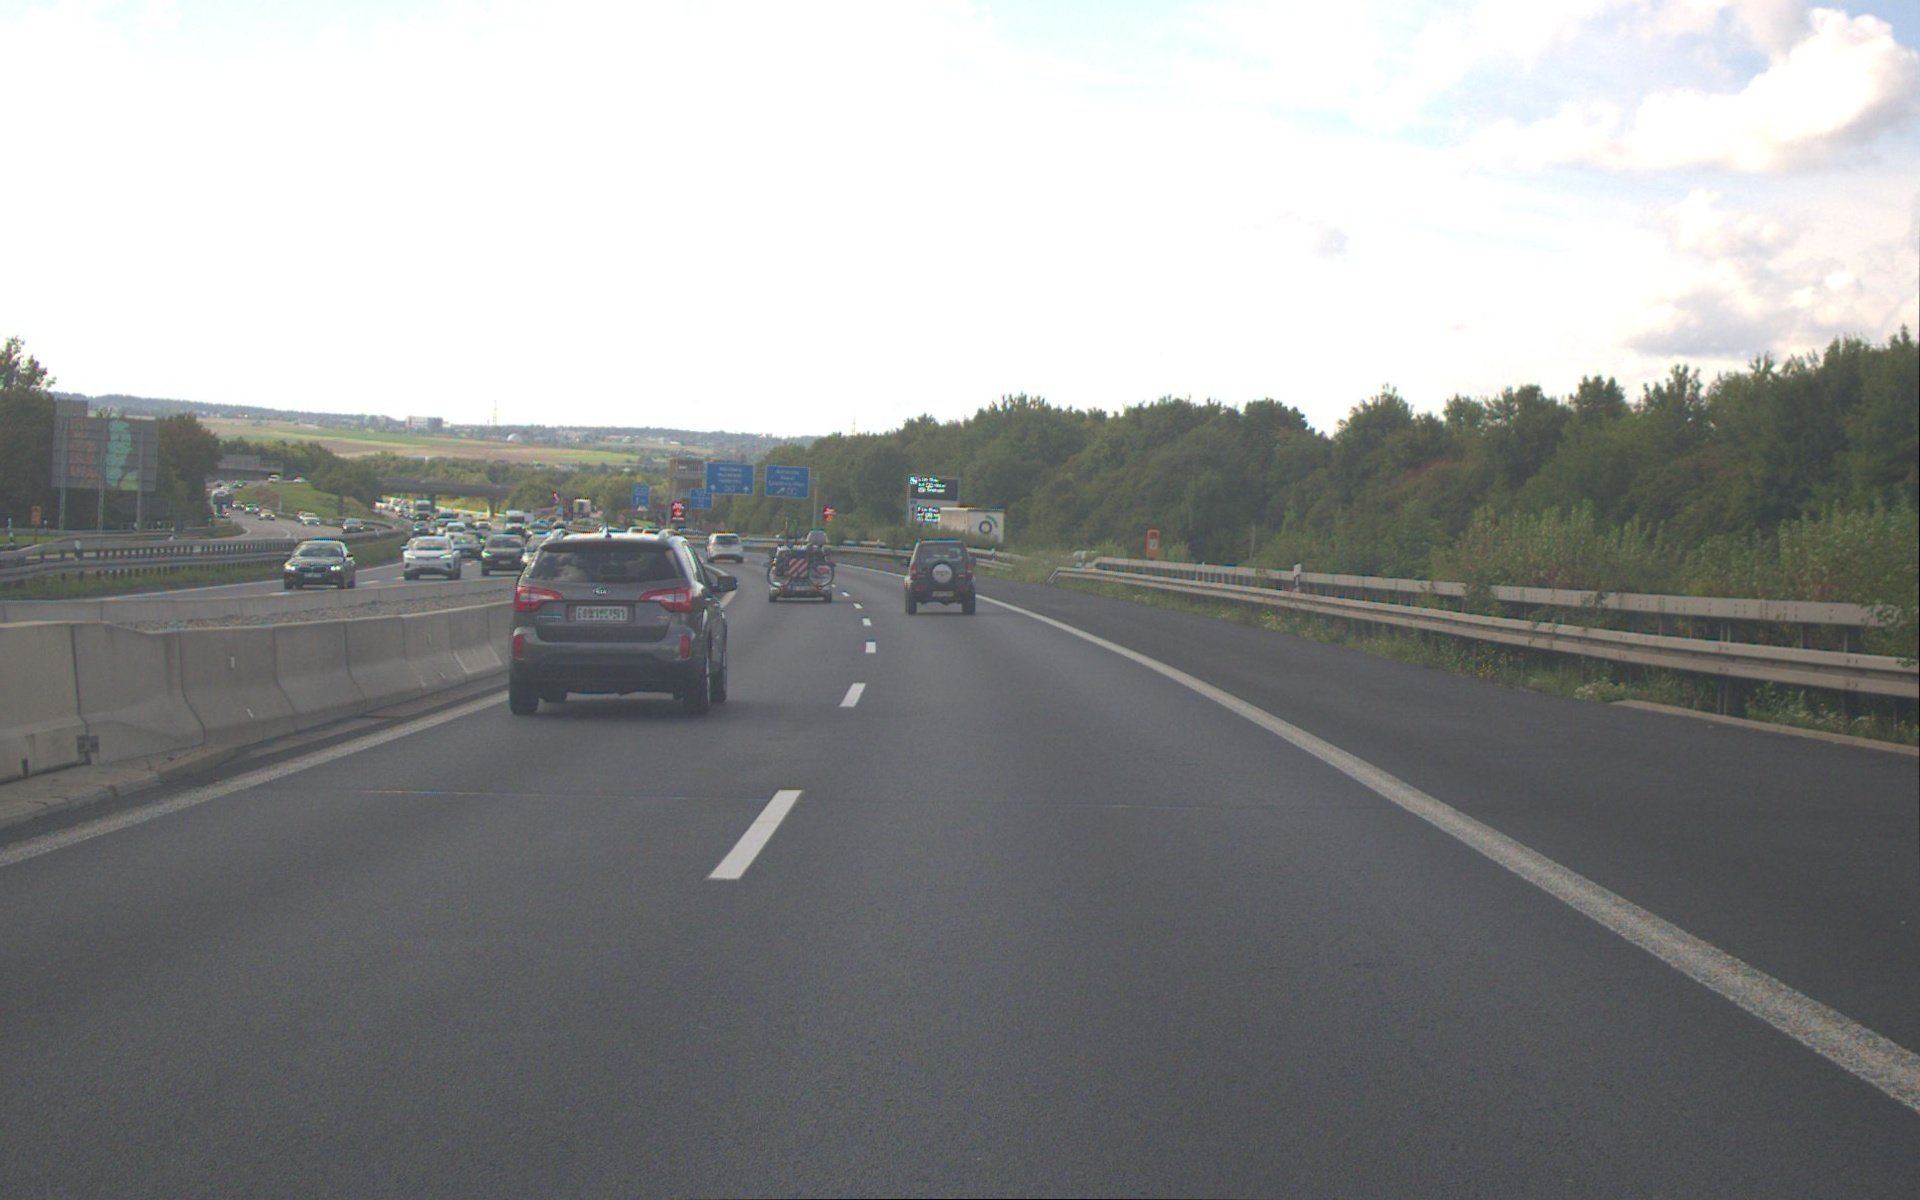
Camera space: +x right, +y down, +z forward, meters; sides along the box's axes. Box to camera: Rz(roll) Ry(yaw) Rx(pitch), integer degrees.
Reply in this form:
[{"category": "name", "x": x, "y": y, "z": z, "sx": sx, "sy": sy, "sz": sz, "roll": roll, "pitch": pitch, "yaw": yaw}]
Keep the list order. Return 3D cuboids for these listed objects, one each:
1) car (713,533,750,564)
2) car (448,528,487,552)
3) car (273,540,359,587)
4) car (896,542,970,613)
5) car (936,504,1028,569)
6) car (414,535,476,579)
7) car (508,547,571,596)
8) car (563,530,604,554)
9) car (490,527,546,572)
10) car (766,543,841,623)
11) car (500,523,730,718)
[{"category": "car", "x": -13.241, "y": -2.950, "z": 199.142, "sx": 1.993, "sy": 1.678, "sz": 4.001, "roll": 1, "pitch": 0, "yaw": -5}, {"category": "car", "x": -28.308, "y": -3.478, "z": 197.816, "sx": 1.868, "sy": 1.333, "sz": 4.230, "roll": 1, "pitch": 1, "yaw": -4}, {"category": "car", "x": -19.998, "y": -1.158, "z": 106.955, "sx": 1.993, "sy": 1.397, "sz": 4.814, "roll": 1, "pitch": 1, "yaw": -3}, {"category": "car", "x": -0.658, "y": -0.550, "z": 81.117, "sx": 1.587, "sy": 1.591, "sz": 4.096, "roll": 1, "pitch": 1, "yaw": -2}, {"category": "car", "x": 1.493, "y": -4.389, "z": 240.847, "sx": 4.727, "sy": 4.251, "sz": 11.406, "roll": 1, "pitch": 0, "yaw": -8}, {"category": "car", "x": -19.346, "y": -1.643, "z": 129.275, "sx": 1.886, "sy": 1.604, "sz": 4.967, "roll": 1, "pitch": 1, "yaw": -4}, {"category": "car", "x": -15.341, "y": -1.055, "z": 125.608, "sx": 1.886, "sy": 1.697, "sz": 4.967, "roll": 1, "pitch": 1, "yaw": -3}, {"category": "car", "x": -21.418, "y": -3.330, "z": 195.590, "sx": 2.045, "sy": 1.333, "sz": 5.609, "roll": 1, "pitch": 1, "yaw": -4}, {"category": "car", "x": -18.231, "y": -2.092, "z": 142.086, "sx": 1.886, "sy": 1.779, "sz": 4.953, "roll": 1, "pitch": 1, "yaw": -3}, {"category": "car", "x": -4.391, "y": -0.495, "z": 96.482, "sx": 2.030, "sy": 2.144, "sz": 4.001, "roll": 1, "pitch": 1, "yaw": -2}, {"category": "car", "x": -3.277, "y": 0.161, "z": 33.503, "sx": 1.817, "sy": 1.730, "sz": 5.187, "roll": 1, "pitch": 0, "yaw": -1}]
